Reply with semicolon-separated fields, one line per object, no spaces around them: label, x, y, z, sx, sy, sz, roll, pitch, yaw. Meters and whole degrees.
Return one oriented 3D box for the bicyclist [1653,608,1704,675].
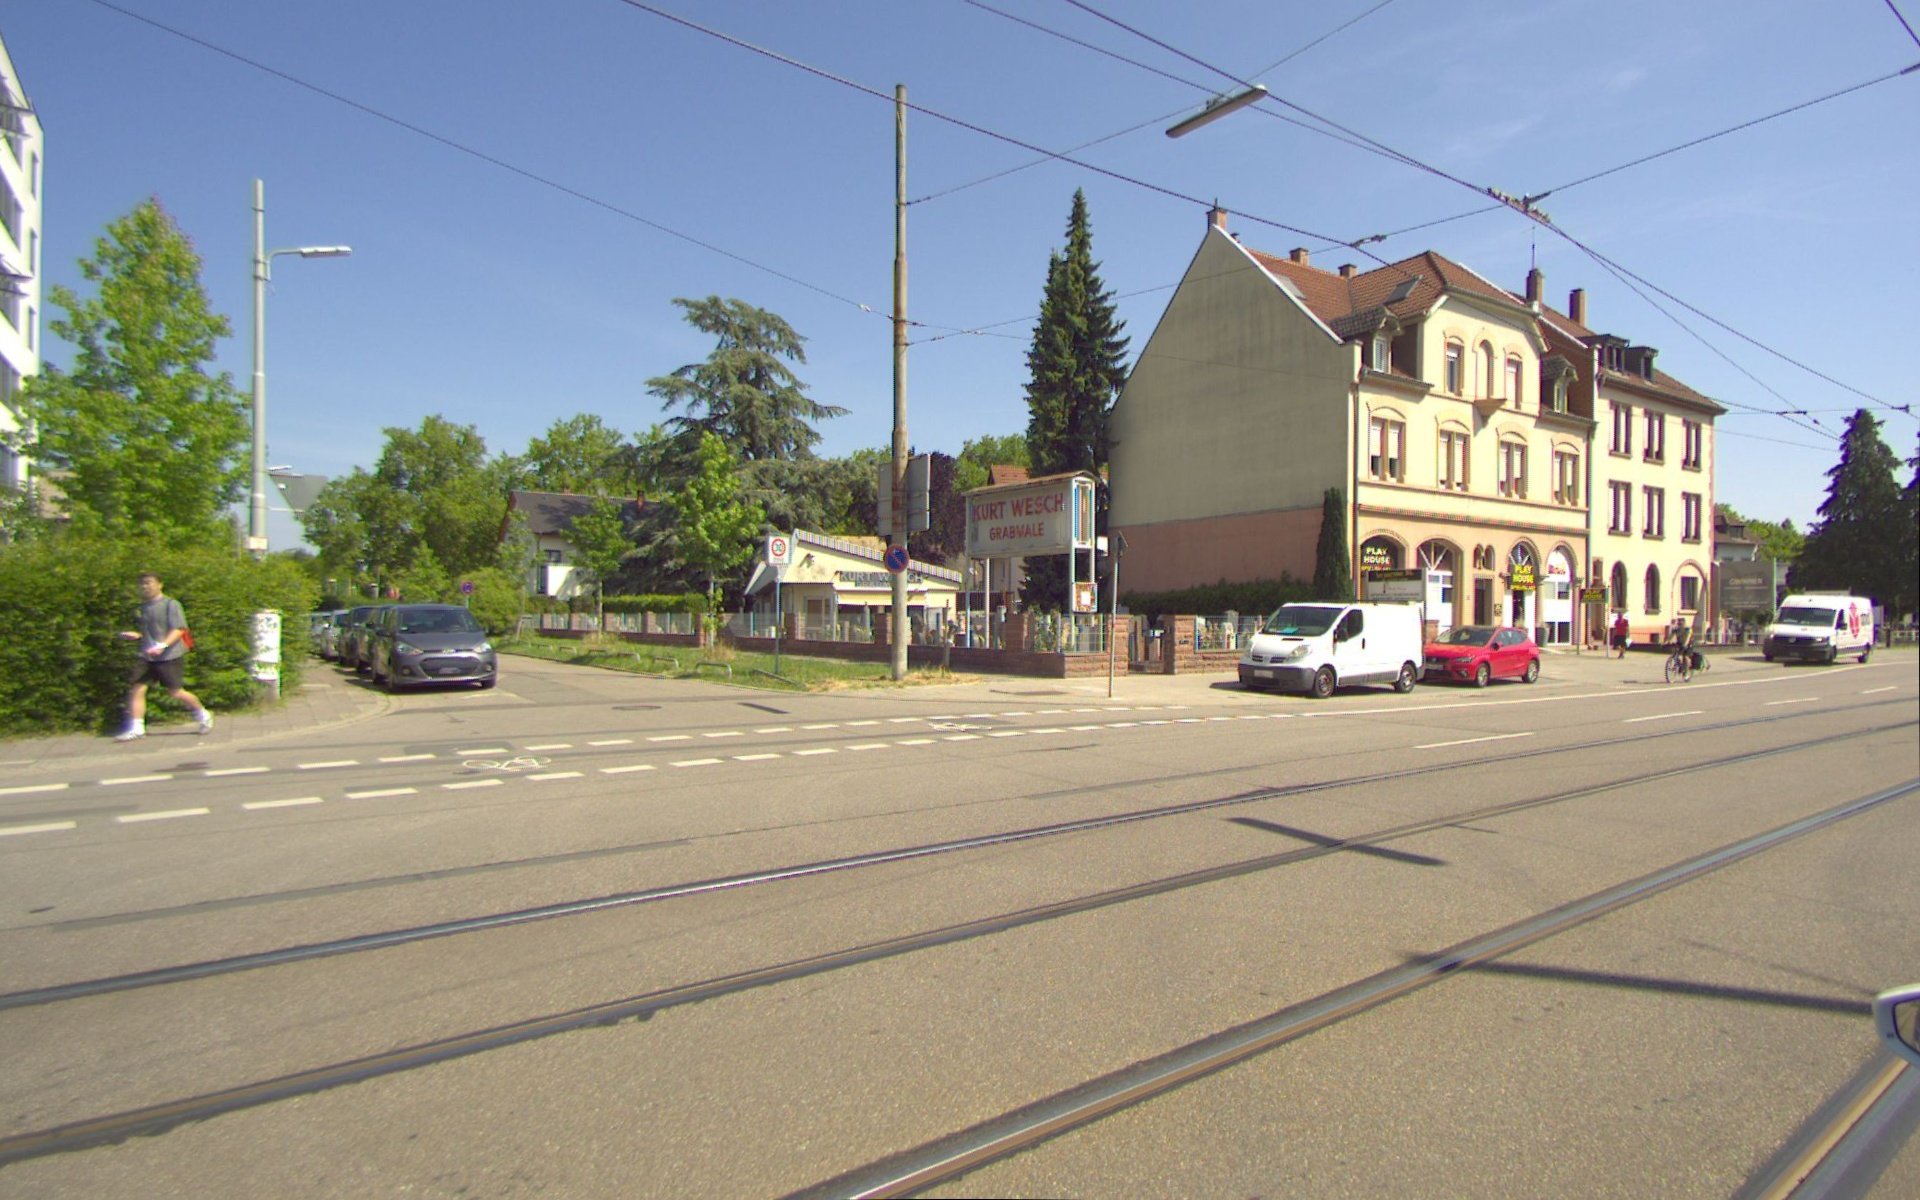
bicyclist;19.184;1.104;26.821;0.974;1.747;0.715;0;-1;-23

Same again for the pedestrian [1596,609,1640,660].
pedestrian;24.071;1.241;36.741;1.115;1.839;0.939;0;0;-26

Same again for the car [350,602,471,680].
car;-12.196;0.850;22.154;1.798;1.539;4.126;1;-1;-37

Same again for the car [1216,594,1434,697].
car;8.092;0.934;22.102;4.857;2.040;2.071;1;0;-34

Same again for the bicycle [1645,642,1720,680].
bicycle;19.311;1.619;26.835;2.133;0.996;0.607;1;-3;-23

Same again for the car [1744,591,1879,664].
car;32.843;1.015;38.678;6.440;2.570;2.314;1;1;-35

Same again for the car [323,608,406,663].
car;-18.011;1.018;30.304;1.798;1.525;4.002;0;0;-36

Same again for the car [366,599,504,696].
car;-9.637;0.782;18.305;1.689;1.548;3.657;1;0;-37

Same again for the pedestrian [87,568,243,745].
pedestrian;-8.771;0.598;11.111;0.876;1.842;1.072;0;-1;27

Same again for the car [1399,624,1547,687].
car;13.087;1.357;25.575;3.961;1.425;1.709;1;0;-35

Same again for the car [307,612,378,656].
car;-21.530;1.149;34.951;1.798;1.422;3.789;1;-1;-37
